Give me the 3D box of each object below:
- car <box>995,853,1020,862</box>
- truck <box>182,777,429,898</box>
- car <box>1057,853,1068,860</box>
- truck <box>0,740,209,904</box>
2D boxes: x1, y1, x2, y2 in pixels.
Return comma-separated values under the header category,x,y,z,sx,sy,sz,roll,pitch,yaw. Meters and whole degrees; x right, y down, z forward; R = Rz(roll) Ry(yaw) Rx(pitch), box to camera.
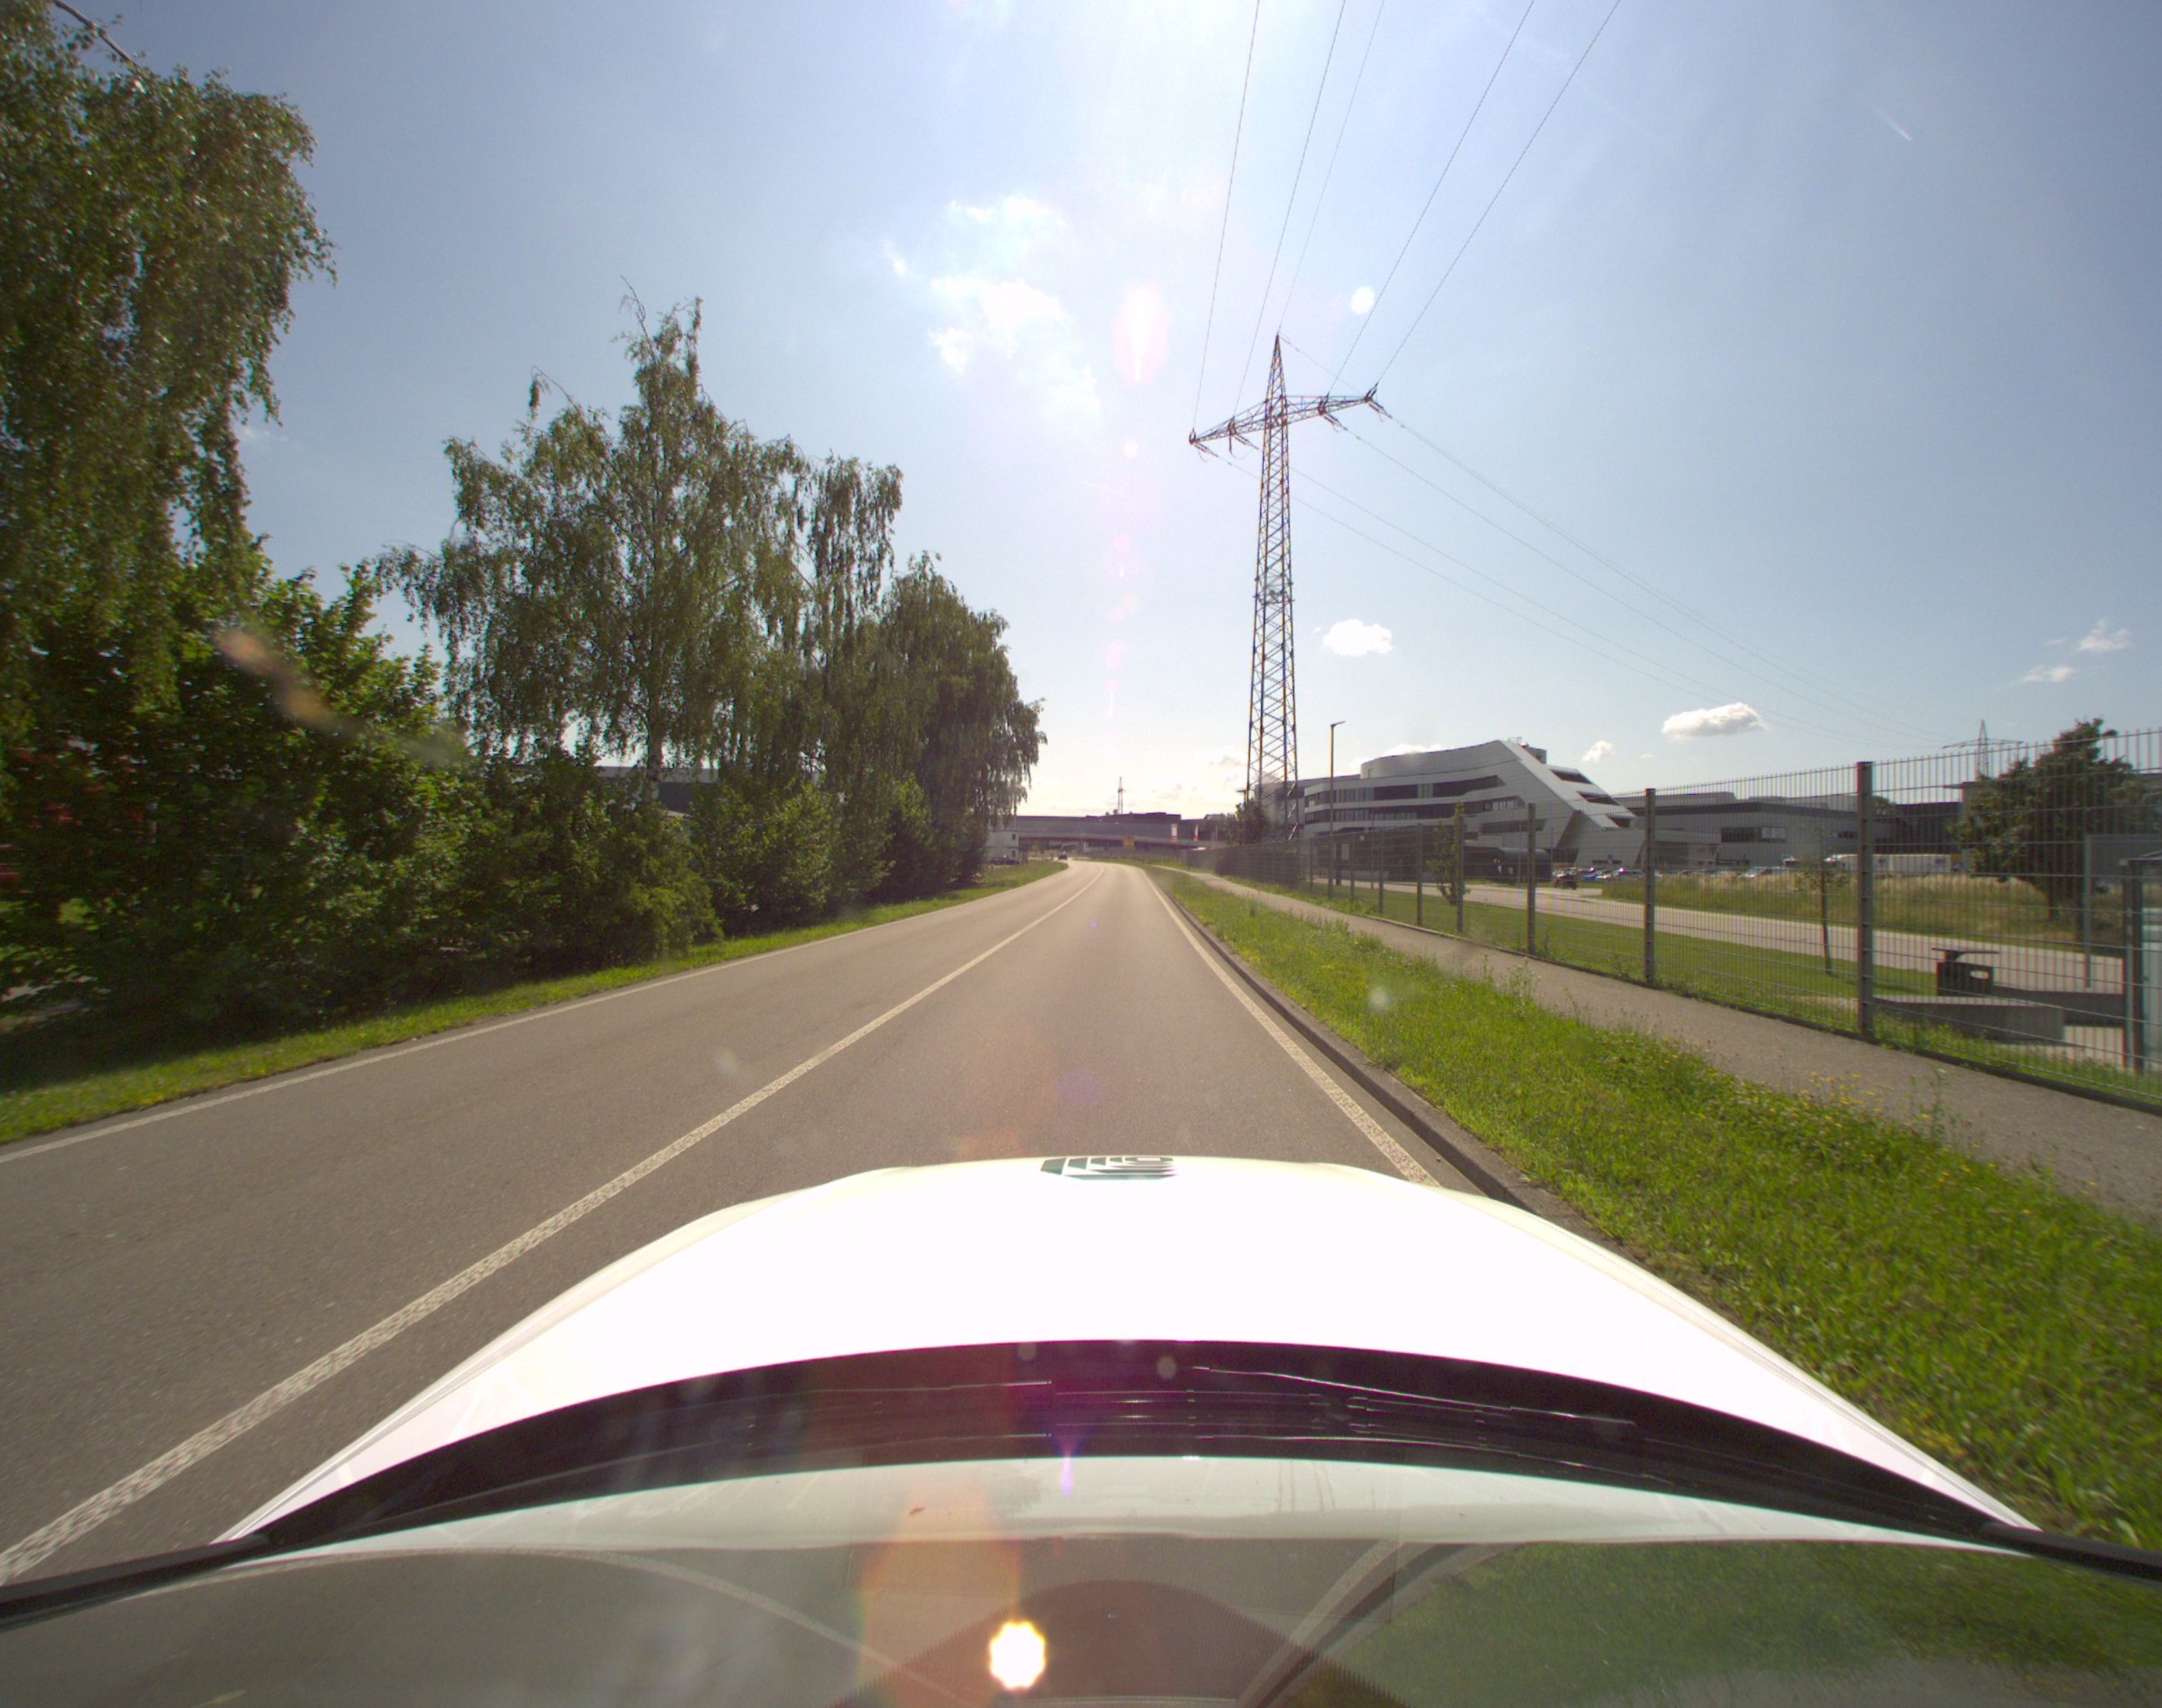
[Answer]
category,x,y,z,sx,sy,sz,roll,pitch,yaw
car,-11.746,0.574,130.199,3.709,1.290,1.693,1,0,-27
truck,-24.615,-0.495,26.267,2.424,3.452,5.448,1,0,4
car,-3.940,0.518,175.251,2.009,1.508,3.993,1,0,-5
truck,-24.889,-0.719,16.530,2.740,3.558,10.279,1,0,4
